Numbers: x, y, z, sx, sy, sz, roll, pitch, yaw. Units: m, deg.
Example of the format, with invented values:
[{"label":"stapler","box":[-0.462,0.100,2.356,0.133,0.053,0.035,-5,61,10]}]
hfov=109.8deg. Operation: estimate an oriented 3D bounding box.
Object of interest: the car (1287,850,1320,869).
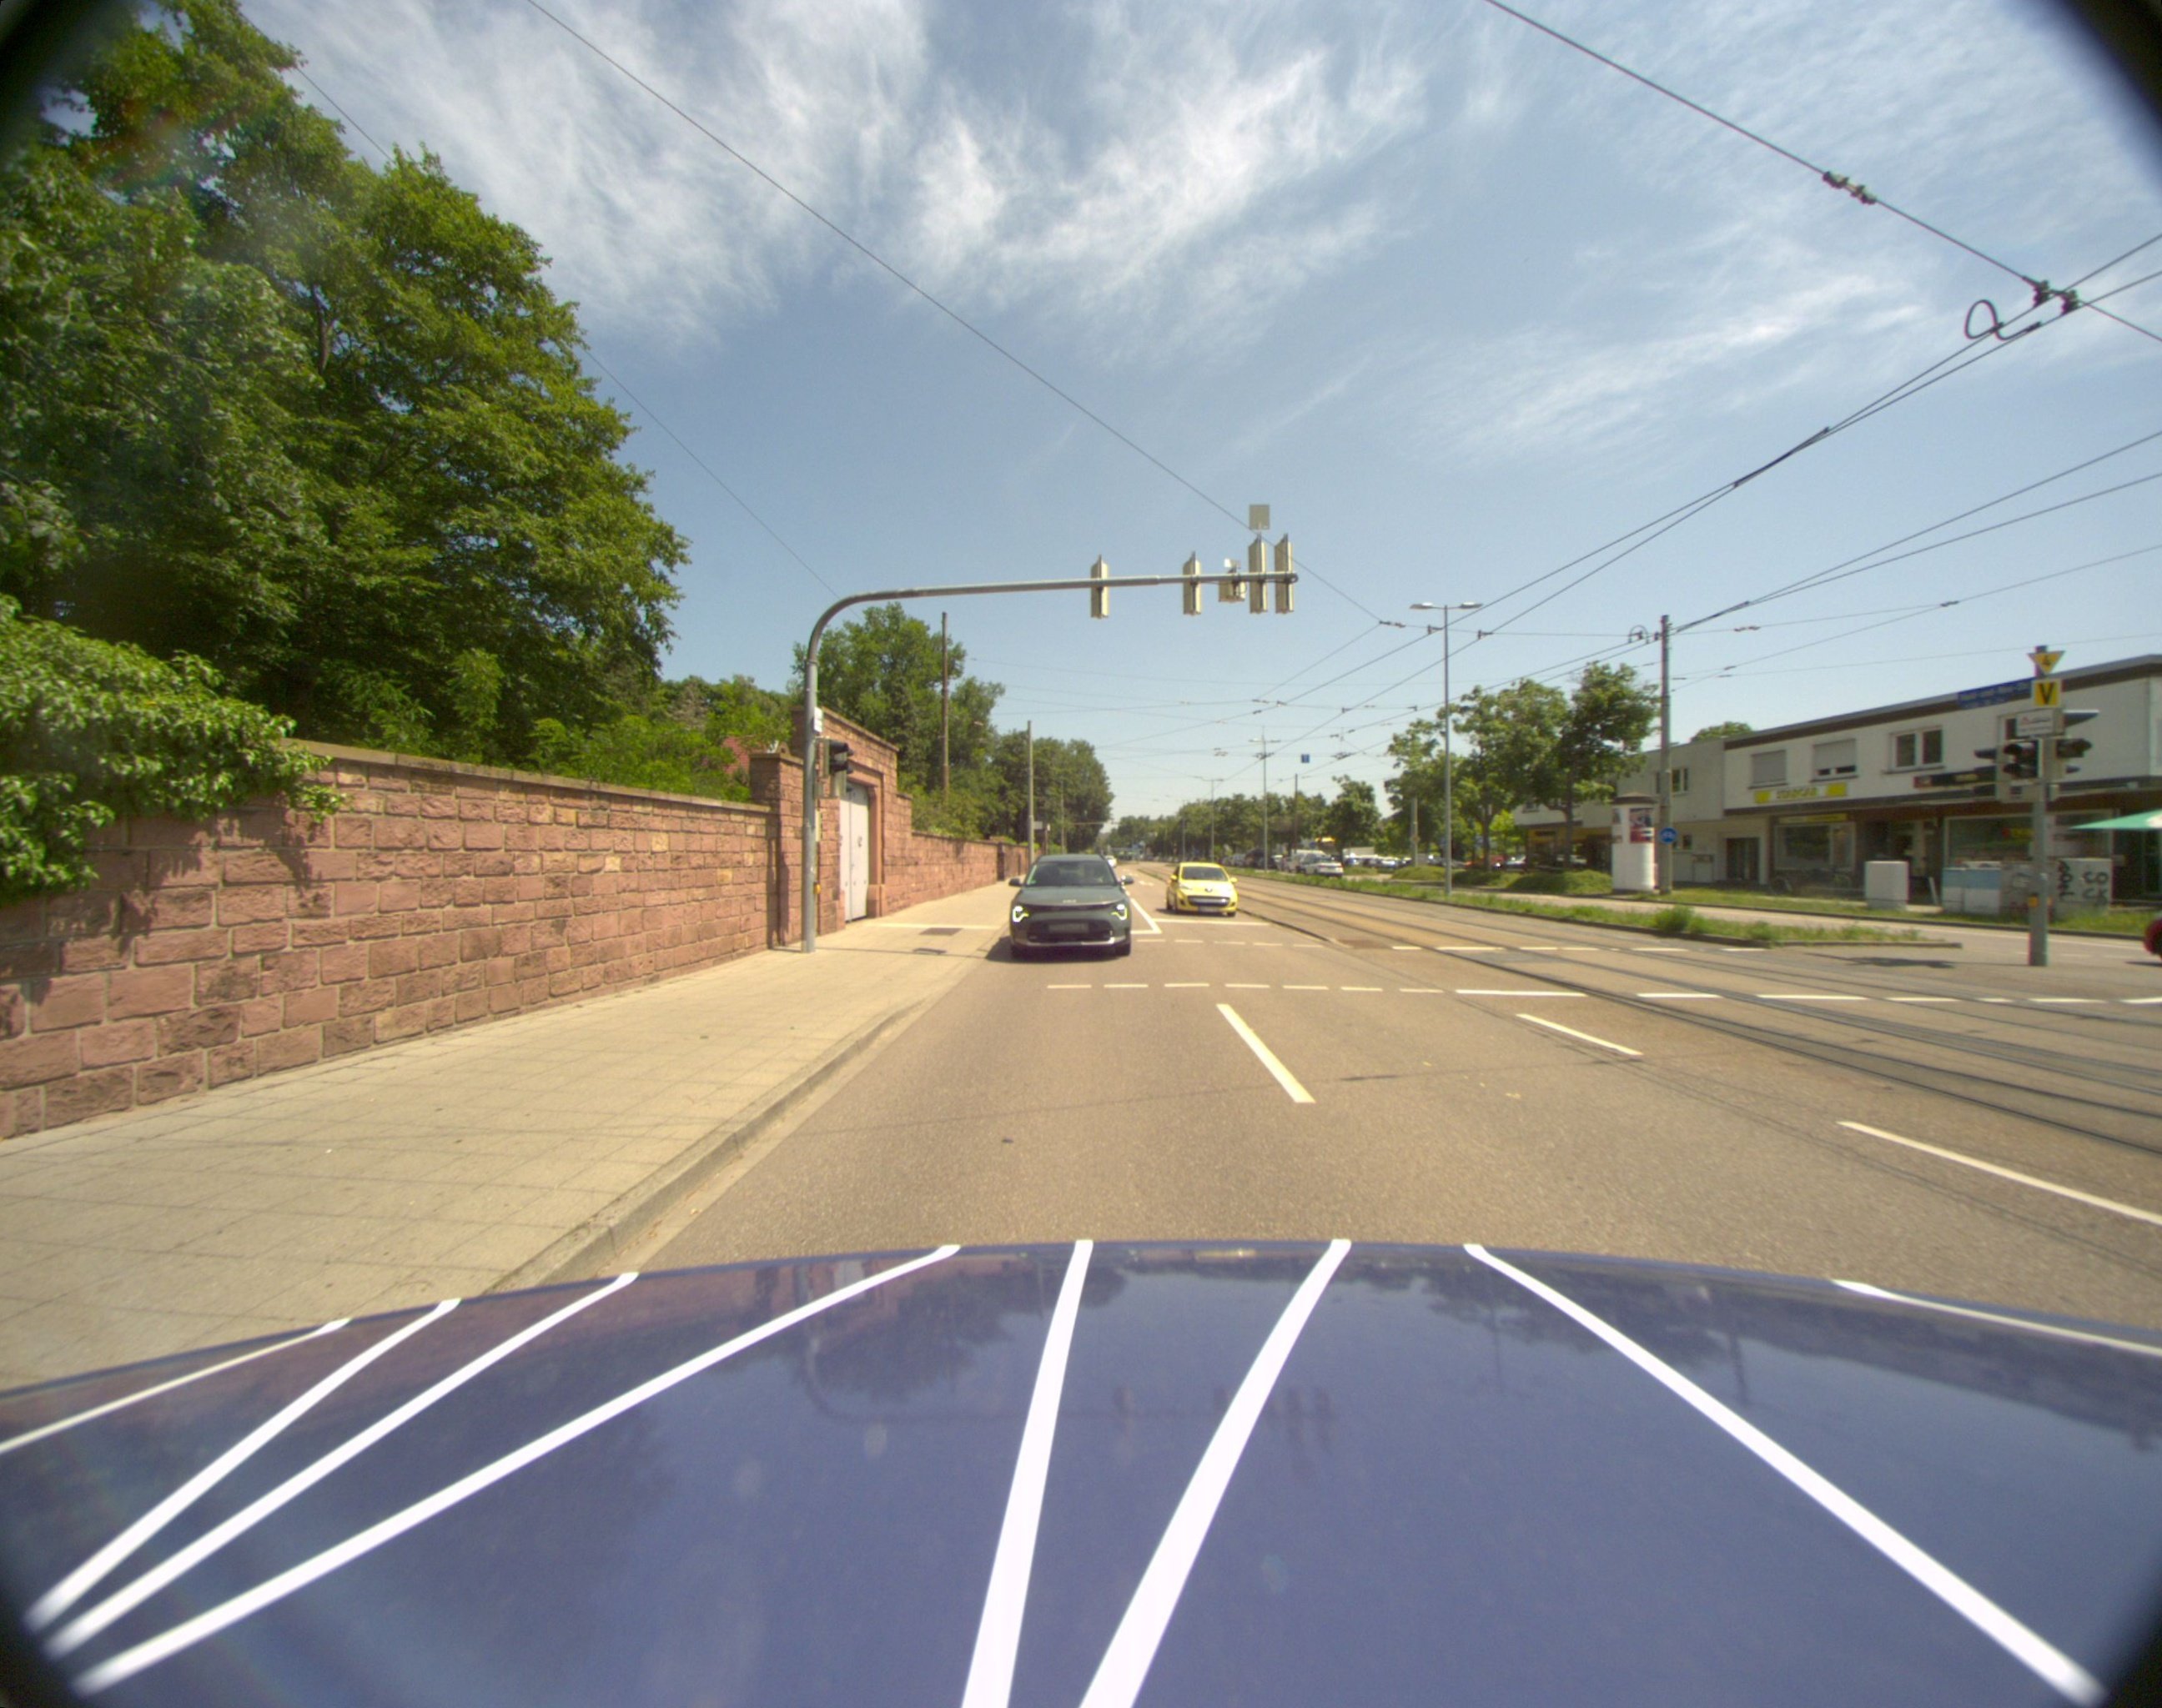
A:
[{"label":"car","box":[22.021,0.517,75.291,1.998,1.872,4.662,0,0,2]}]

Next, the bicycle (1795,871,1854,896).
[{"label":"bicycle","box":[28.144,1.109,28.806,0.529,0.843,1.787,-2,0,2]}]

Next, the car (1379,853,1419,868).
[{"label":"car","box":[32.225,0.665,77.016,3.414,1.482,1.598,0,1,-3]}]

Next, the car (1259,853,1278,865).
[{"label":"car","box":[22.630,0.587,91.714,1.674,1.378,3.670,0,0,4]}]

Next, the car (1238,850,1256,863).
[{"label":"car","box":[23.186,0.322,106.274,1.681,1.783,3.869,0,0,1]}]

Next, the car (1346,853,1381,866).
[{"label":"car","box":[32.439,0.626,87.423,3.414,1.386,1.603,0,1,-3]}]

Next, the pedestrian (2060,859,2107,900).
[{"label":"pedestrian","box":[30.337,0.759,23.007,0.518,1.202,0.674,0,1,2]}]

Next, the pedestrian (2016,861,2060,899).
[{"label":"pedestrian","box":[30.527,0.821,24.243,0.518,1.157,0.674,0,1,2]}]

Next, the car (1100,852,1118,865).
[{"label":"car","box":[3.604,0.525,97.631,1.997,1.652,4.002,0,0,7]}]

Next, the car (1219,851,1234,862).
[{"label":"car","box":[23.442,0.392,122.170,1.681,1.783,4.203,0,0,1]}]

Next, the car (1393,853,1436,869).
[{"label":"car","box":[32.839,0.670,74.825,3.414,1.482,1.793,0,0,-3]}]

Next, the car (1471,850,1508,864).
[{"label":"car","box":[46.513,0.365,86.510,3.355,1.552,1.506,0,1,-1]}]

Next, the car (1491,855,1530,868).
[{"label":"car","box":[45.823,0.789,81.133,3.355,1.381,1.506,0,1,-1]}]

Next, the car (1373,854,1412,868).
[{"label":"car","box":[32.633,0.724,79.525,3.414,1.386,1.603,0,1,-3]}]

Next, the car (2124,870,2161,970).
[{"label":"car","box":[16.768,0.986,9.701,1.628,1.475,3.828,0,0,0]}]

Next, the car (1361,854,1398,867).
[{"label":"car","box":[32.127,0.684,81.799,3.414,1.386,1.603,0,1,-3]}]

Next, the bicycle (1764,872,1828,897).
[{"label":"bicycle","box":[27.053,1.150,28.802,0.603,0.843,1.959,-2,0,2]}]

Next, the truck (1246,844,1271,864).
[{"label":"truck","box":[22.801,-0.014,97.863,2.225,2.526,4.929,0,0,2]}]

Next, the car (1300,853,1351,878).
[{"label":"car","box":[16.528,0.719,51.572,1.999,1.543,4.138,2,0,-2]}]

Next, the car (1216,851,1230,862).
[{"label":"car","box":[23.969,0.411,128.685,1.681,1.693,3.824,0,0,1]}]

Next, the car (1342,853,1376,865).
[{"label":"car","box":[33.043,0.608,90.304,3.414,1.386,1.603,0,1,-3]}]

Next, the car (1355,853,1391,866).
[{"label":"car","box":[32.630,0.616,85.010,3.414,1.386,1.603,0,1,-3]}]

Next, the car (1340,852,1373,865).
[{"label":"car","box":[33.697,0.522,92.898,3.414,1.497,1.603,0,1,-3]}]

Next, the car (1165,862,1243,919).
[{"label":"car","box":[3.381,0.956,21.415,1.620,1.412,3.656,2,0,1]}]

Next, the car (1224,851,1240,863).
[{"label":"car","box":[23.324,0.415,117.520,1.681,1.783,4.203,0,0,1]}]

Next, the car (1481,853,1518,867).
[{"label":"car","box":[46.208,0.637,83.920,3.355,1.450,1.506,0,1,-1]}]

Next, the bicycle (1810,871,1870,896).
[{"label":"bicycle","box":[28.713,1.120,28.788,0.529,0.843,1.787,-2,0,2]}]

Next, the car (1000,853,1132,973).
[{"label":"car","box":[-0.126,0.825,12.660,1.789,1.561,4.184,-2,1,2]}]

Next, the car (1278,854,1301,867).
[{"label":"car","box":[22.340,0.699,81.657,1.674,1.378,3.569,0,0,4]}]

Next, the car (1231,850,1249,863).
[{"label":"car","box":[23.302,0.353,111.597,1.681,1.963,4.509,0,0,1]}]
